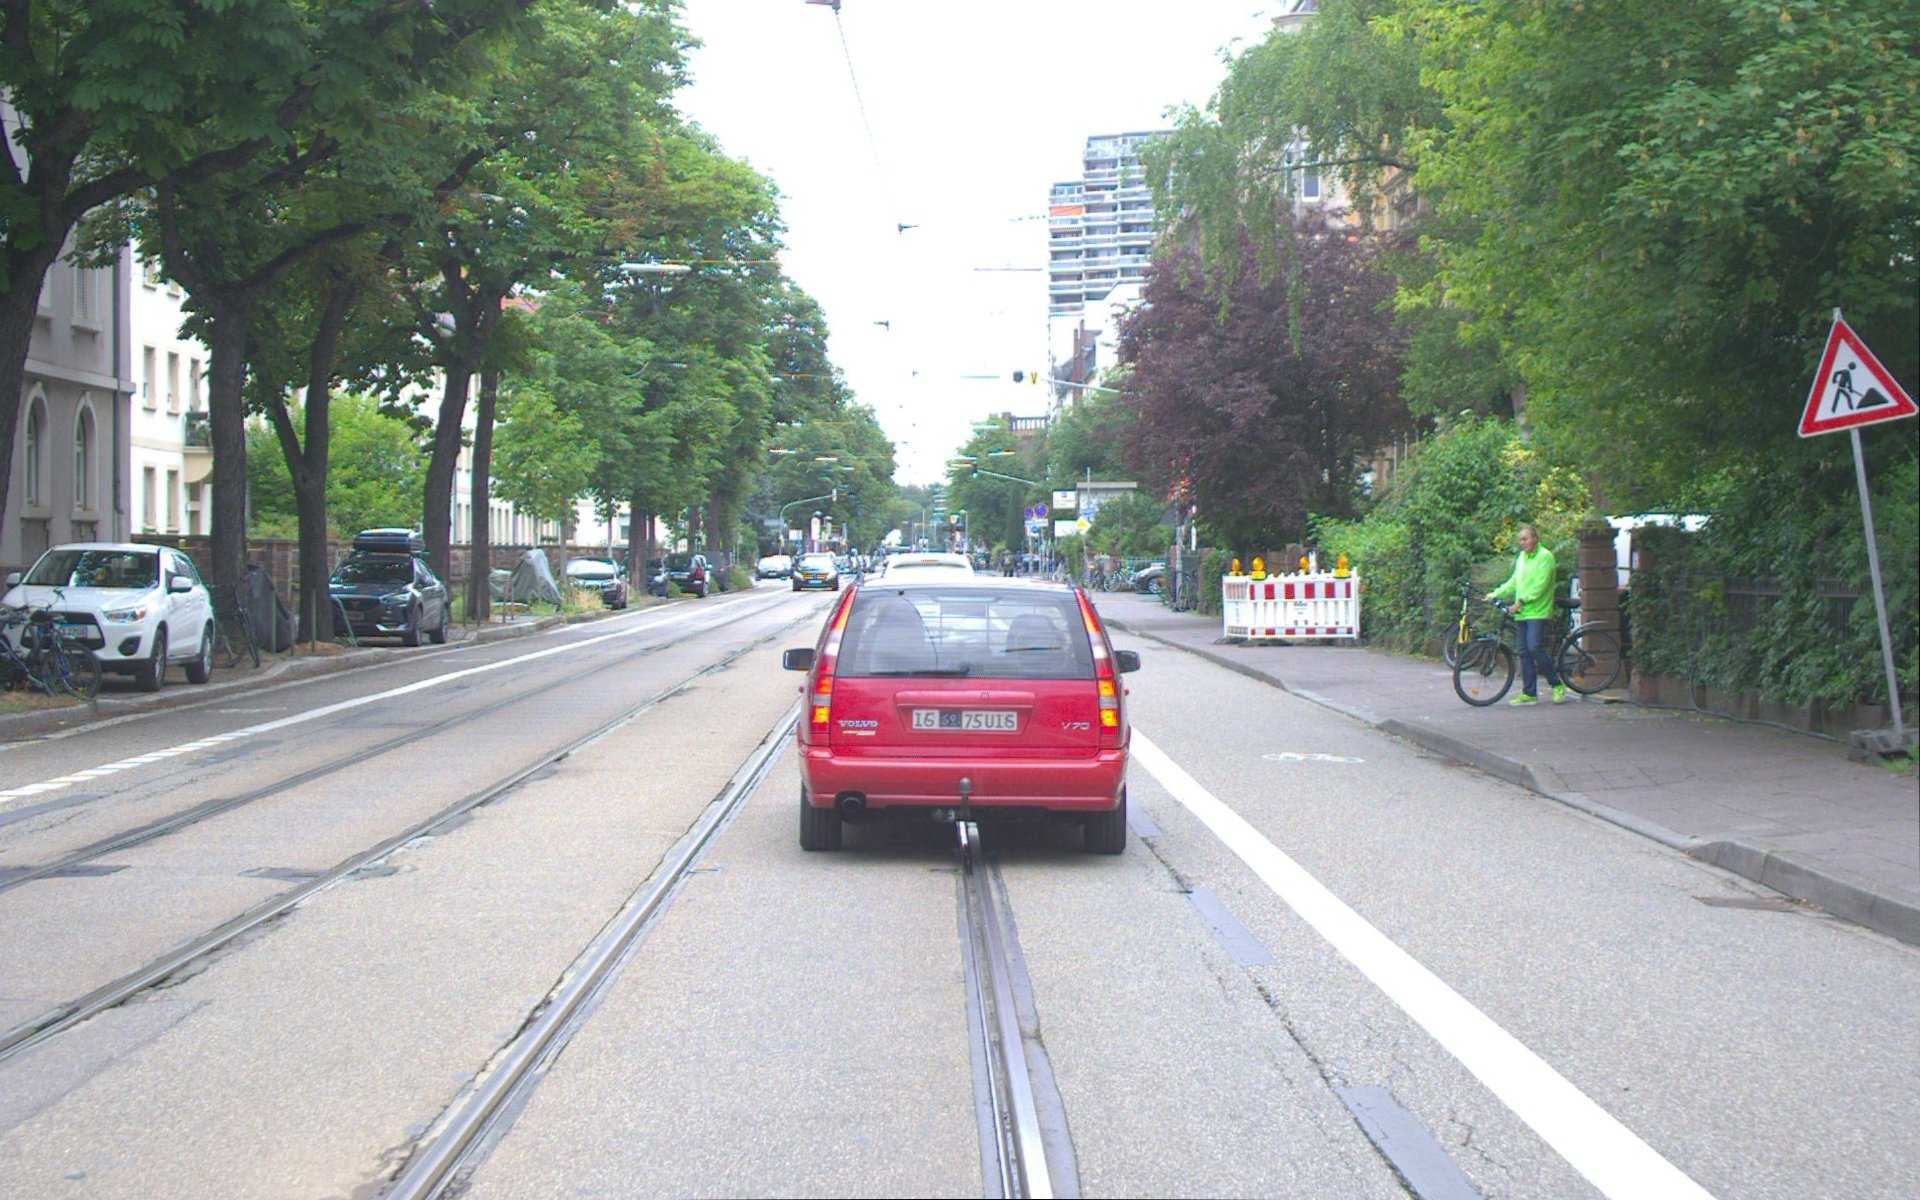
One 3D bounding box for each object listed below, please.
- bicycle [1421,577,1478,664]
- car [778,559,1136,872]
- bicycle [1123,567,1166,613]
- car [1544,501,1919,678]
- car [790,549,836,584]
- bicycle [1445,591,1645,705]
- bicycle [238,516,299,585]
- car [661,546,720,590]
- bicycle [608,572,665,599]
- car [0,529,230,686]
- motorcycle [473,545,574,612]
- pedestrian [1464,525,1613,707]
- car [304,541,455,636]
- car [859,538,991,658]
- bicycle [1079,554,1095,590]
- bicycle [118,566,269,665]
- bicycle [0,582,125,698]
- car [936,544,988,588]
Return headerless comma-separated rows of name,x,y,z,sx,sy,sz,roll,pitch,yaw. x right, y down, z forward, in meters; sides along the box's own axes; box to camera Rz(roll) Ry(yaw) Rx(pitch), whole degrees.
bicycle,6.059,0.248,42.565,0.479,1.041,1.531,0,1,0
car,-0.035,0.534,18.398,1.689,1.436,3.743,1,1,-1
bicycle,6.207,-0.351,115.600,0.918,1.502,2.379,1,1,16
car,8.503,-0.125,37.394,3.987,1.852,1.809,0,1,0
car,-5.911,-1.359,138.728,1.755,1.375,4.027,0,1,-1
bicycle,5.751,0.469,33.854,1.841,1.072,0.606,-1,1,-1
bicycle,-13.926,-0.997,69.300,0.792,1.377,2.141,0,0,0
car,-9.774,-1.162,124.722,1.851,1.558,3.943,1,1,0
bicycle,-10.339,-0.452,109.871,1.749,0.841,0.684,1,1,1
car,-9.577,0.046,38.725,1.897,1.650,4.226,1,1,-2
motorcycle,-10.096,-0.497,79.512,2.269,1.506,0.925,1,-1,35
pedestrian,5.623,0.147,33.475,1.228,1.727,1.018,-1,1,-1
car,-9.708,-0.216,57.750,1.777,1.505,4.238,1,1,0
car,-0.460,-0.051,48.939,1.719,1.619,3.941,1,1,1
bicycle,5.004,-1.092,135.538,0.551,1.395,1.734,0,1,0
bicycle,-9.822,0.188,44.064,1.744,1.188,0.652,2,1,14
bicycle,-9.452,0.386,34.580,1.922,1.117,0.624,2,1,-1
car,0.073,-1.267,128.587,1.741,1.600,4.001,1,1,-3
